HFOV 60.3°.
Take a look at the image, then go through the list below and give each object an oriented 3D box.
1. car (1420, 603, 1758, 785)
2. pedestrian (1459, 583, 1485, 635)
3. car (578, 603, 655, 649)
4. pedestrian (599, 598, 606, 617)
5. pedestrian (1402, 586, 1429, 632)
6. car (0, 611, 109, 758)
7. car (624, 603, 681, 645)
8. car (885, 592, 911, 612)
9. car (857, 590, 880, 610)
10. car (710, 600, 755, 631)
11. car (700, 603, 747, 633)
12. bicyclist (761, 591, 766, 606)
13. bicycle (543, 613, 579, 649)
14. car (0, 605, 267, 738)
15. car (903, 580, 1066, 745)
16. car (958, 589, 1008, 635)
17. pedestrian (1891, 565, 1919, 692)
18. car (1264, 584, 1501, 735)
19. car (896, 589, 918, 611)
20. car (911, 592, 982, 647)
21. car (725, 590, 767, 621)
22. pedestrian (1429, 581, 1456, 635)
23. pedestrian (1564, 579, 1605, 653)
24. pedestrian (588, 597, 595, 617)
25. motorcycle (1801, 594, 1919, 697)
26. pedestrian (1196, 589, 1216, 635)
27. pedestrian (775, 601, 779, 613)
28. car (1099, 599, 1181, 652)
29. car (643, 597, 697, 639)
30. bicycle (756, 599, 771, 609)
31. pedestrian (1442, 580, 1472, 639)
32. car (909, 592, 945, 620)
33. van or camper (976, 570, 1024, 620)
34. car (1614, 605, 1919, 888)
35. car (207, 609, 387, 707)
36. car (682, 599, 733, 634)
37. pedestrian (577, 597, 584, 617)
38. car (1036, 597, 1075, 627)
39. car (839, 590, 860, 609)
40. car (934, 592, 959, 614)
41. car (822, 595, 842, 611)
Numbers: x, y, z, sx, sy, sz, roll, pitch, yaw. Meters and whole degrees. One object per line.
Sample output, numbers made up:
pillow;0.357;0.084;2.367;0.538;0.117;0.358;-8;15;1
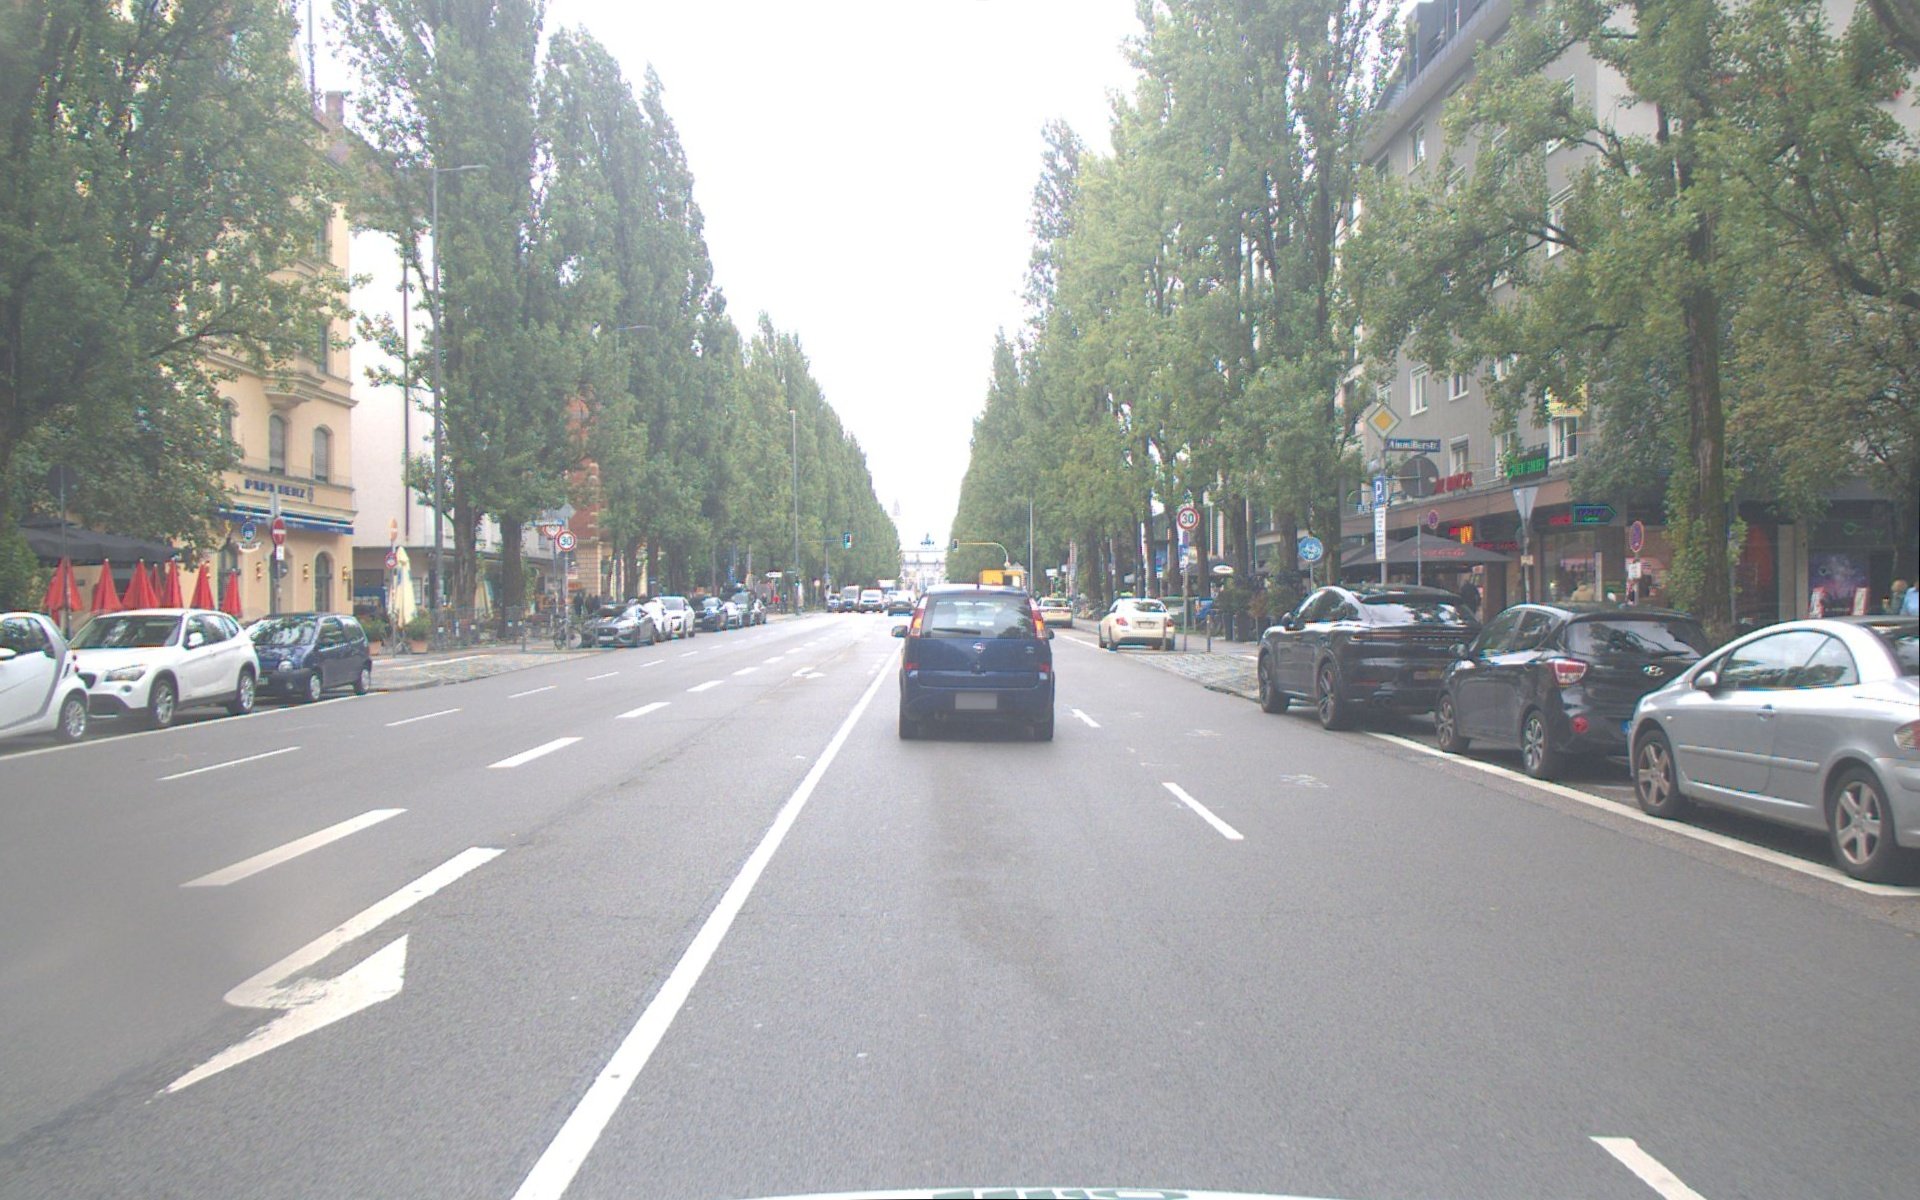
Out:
car;5.609;0.767;15.223;1.648;1.439;3.581;1;0;-2
pedestrian;15.380;0.260;49.700;0.627;1.553;0.484;-1;0;-1
car;-11.380;0.841;55.005;1.793;1.445;3.810;-1;0;-1
pedestrian;-20.454;0.417;94.585;0.283;1.109;0.258;-1;0;4
pedestrian;14.781;0.292;53.703;0.670;1.494;0.678;-1;0;-1
car;-11.077;0.931;18.497;1.540;1.561;2.923;-1;0;1
car;-11.303;0.859;60.982;1.515;1.478;3.456;-1;0;-1
car;-4.568;0.135;122.262;1.922;1.424;3.777;-1;0;-2
car;-7.773;-0.002;140.747;1.798;1.706;3.777;-1;0;-2
car;-12.075;0.818;87.979;1.922;1.576;3.777;-1;0;-2
car;-11.957;0.897;83.905;1.922;1.424;3.777;-1;0;-2
bicyclist;-22.712;-0.130;191.180;0.607;1.743;0.563;-1;0;-8
bicycle;-11.900;0.907;49.354;0.652;1.023;2.460;-1;0;-4
car;-11.061;0.886;22.387;1.798;1.573;4.084;-1;0;-3
car;0.180;0.621;18.723;1.647;1.670;3.998;0;0;-2
car;0.835;0.410;62.380;1.672;1.601;3.999;-2;1;-2
pedestrian;12.799;0.370;21.695;0.726;1.655;0.759;1;0;-27
car;5.000;0.643;20.133;1.761;1.621;4.103;1;0;-1
car;-4.313;-0.004;134.766;1.798;1.792;3.777;-1;0;-2
car;-0.444;0.532;48.292;1.953;1.523;3.998;-1;0;-2
car;-12.244;0.295;94.736;1.953;1.691;3.998;-1;0;-2
pedestrian;14.037;0.234;48.102;0.627;1.553;0.484;-1;0;-1
pedestrian;15.166;0.386;40.185;0.640;1.781;0.859;1;0;-1
pedestrian;-21.036;0.410;94.386;0.283;1.109;0.258;-1;0;4
motorcycle;11.460;0.489;19.042;3.061;1.109;1.191;-1;0;-9
pedestrian;8.995;0.427;60.447;0.640;1.655;0.705;1;0;4
pedestrian;-16.086;0.612;145.450;0.252;1.109;0.290;-1;0;4
car;5.093;0.693;47.192;1.858;1.386;3.899;-1;0;-1
car;-11.519;0.704;65.881;1.620;1.589;3.456;-1;0;-1
bicycle;-22.722;0.493;191.164;1.673;1.154;0.447;-1;0;-7
pedestrian;13.113;0.244;43.661;0.627;1.553;0.484;-1;0;-1
car;-1.857;0.319;92.611;1.953;1.523;3.998;-1;0;-2
van or camper;2.195;-0.277;92.318;2.426;2.626;5.843;-1;0;-1
car;5.719;0.777;10.172;1.637;1.431;4.126;1;0;-2
car;-10.952;0.912;27.549;1.553;1.472;3.391;-1;0;1
car;-11.829;0.766;77.758;1.922;1.557;3.998;-1;0;-3
pedestrian;-21.859;0.402;95.248;0.283;1.109;0.258;-1;0;4
car;4.716;0.578;81.847;1.635;1.376;4.103;-1;0;-1
car;-10.383;-0.029;155.262;1.798;1.769;3.777;-1;0;-2
car;-1.080;0.212;133.945;1.922;1.706;3.777;-1;0;-2
car;-13.477;0.304;174.785;1.922;1.576;3.777;-1;0;-2
